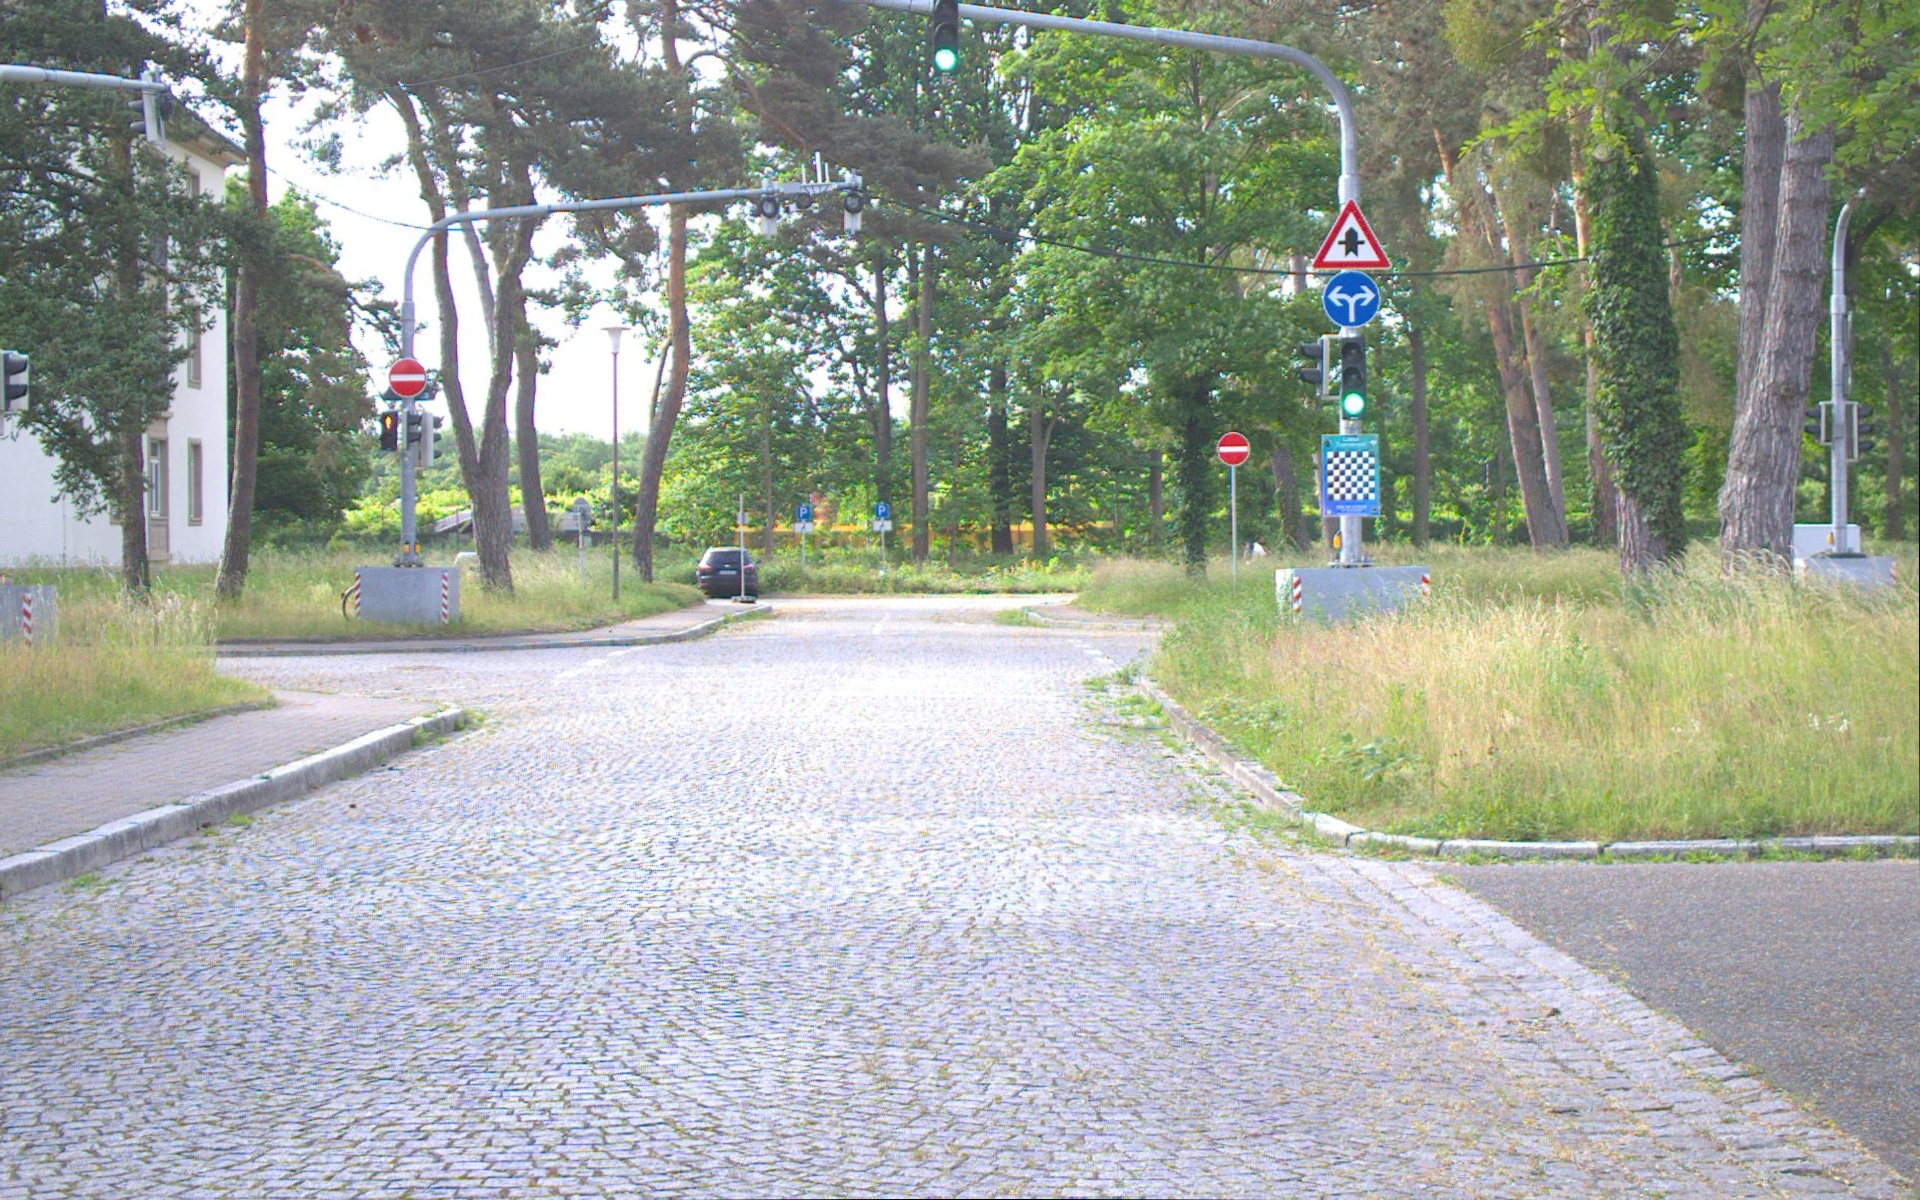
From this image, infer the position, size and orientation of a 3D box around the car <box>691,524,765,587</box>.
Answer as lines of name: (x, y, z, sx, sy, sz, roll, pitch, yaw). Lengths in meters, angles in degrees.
car: (-6.970, -1.349, 103.705, 2.056, 1.840, 4.000, 0, 1, -1)

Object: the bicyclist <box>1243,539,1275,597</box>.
bicyclist: (8.732, -0.934, 100.282, 0.748, 1.665, 0.526, 1, 0, -21)
